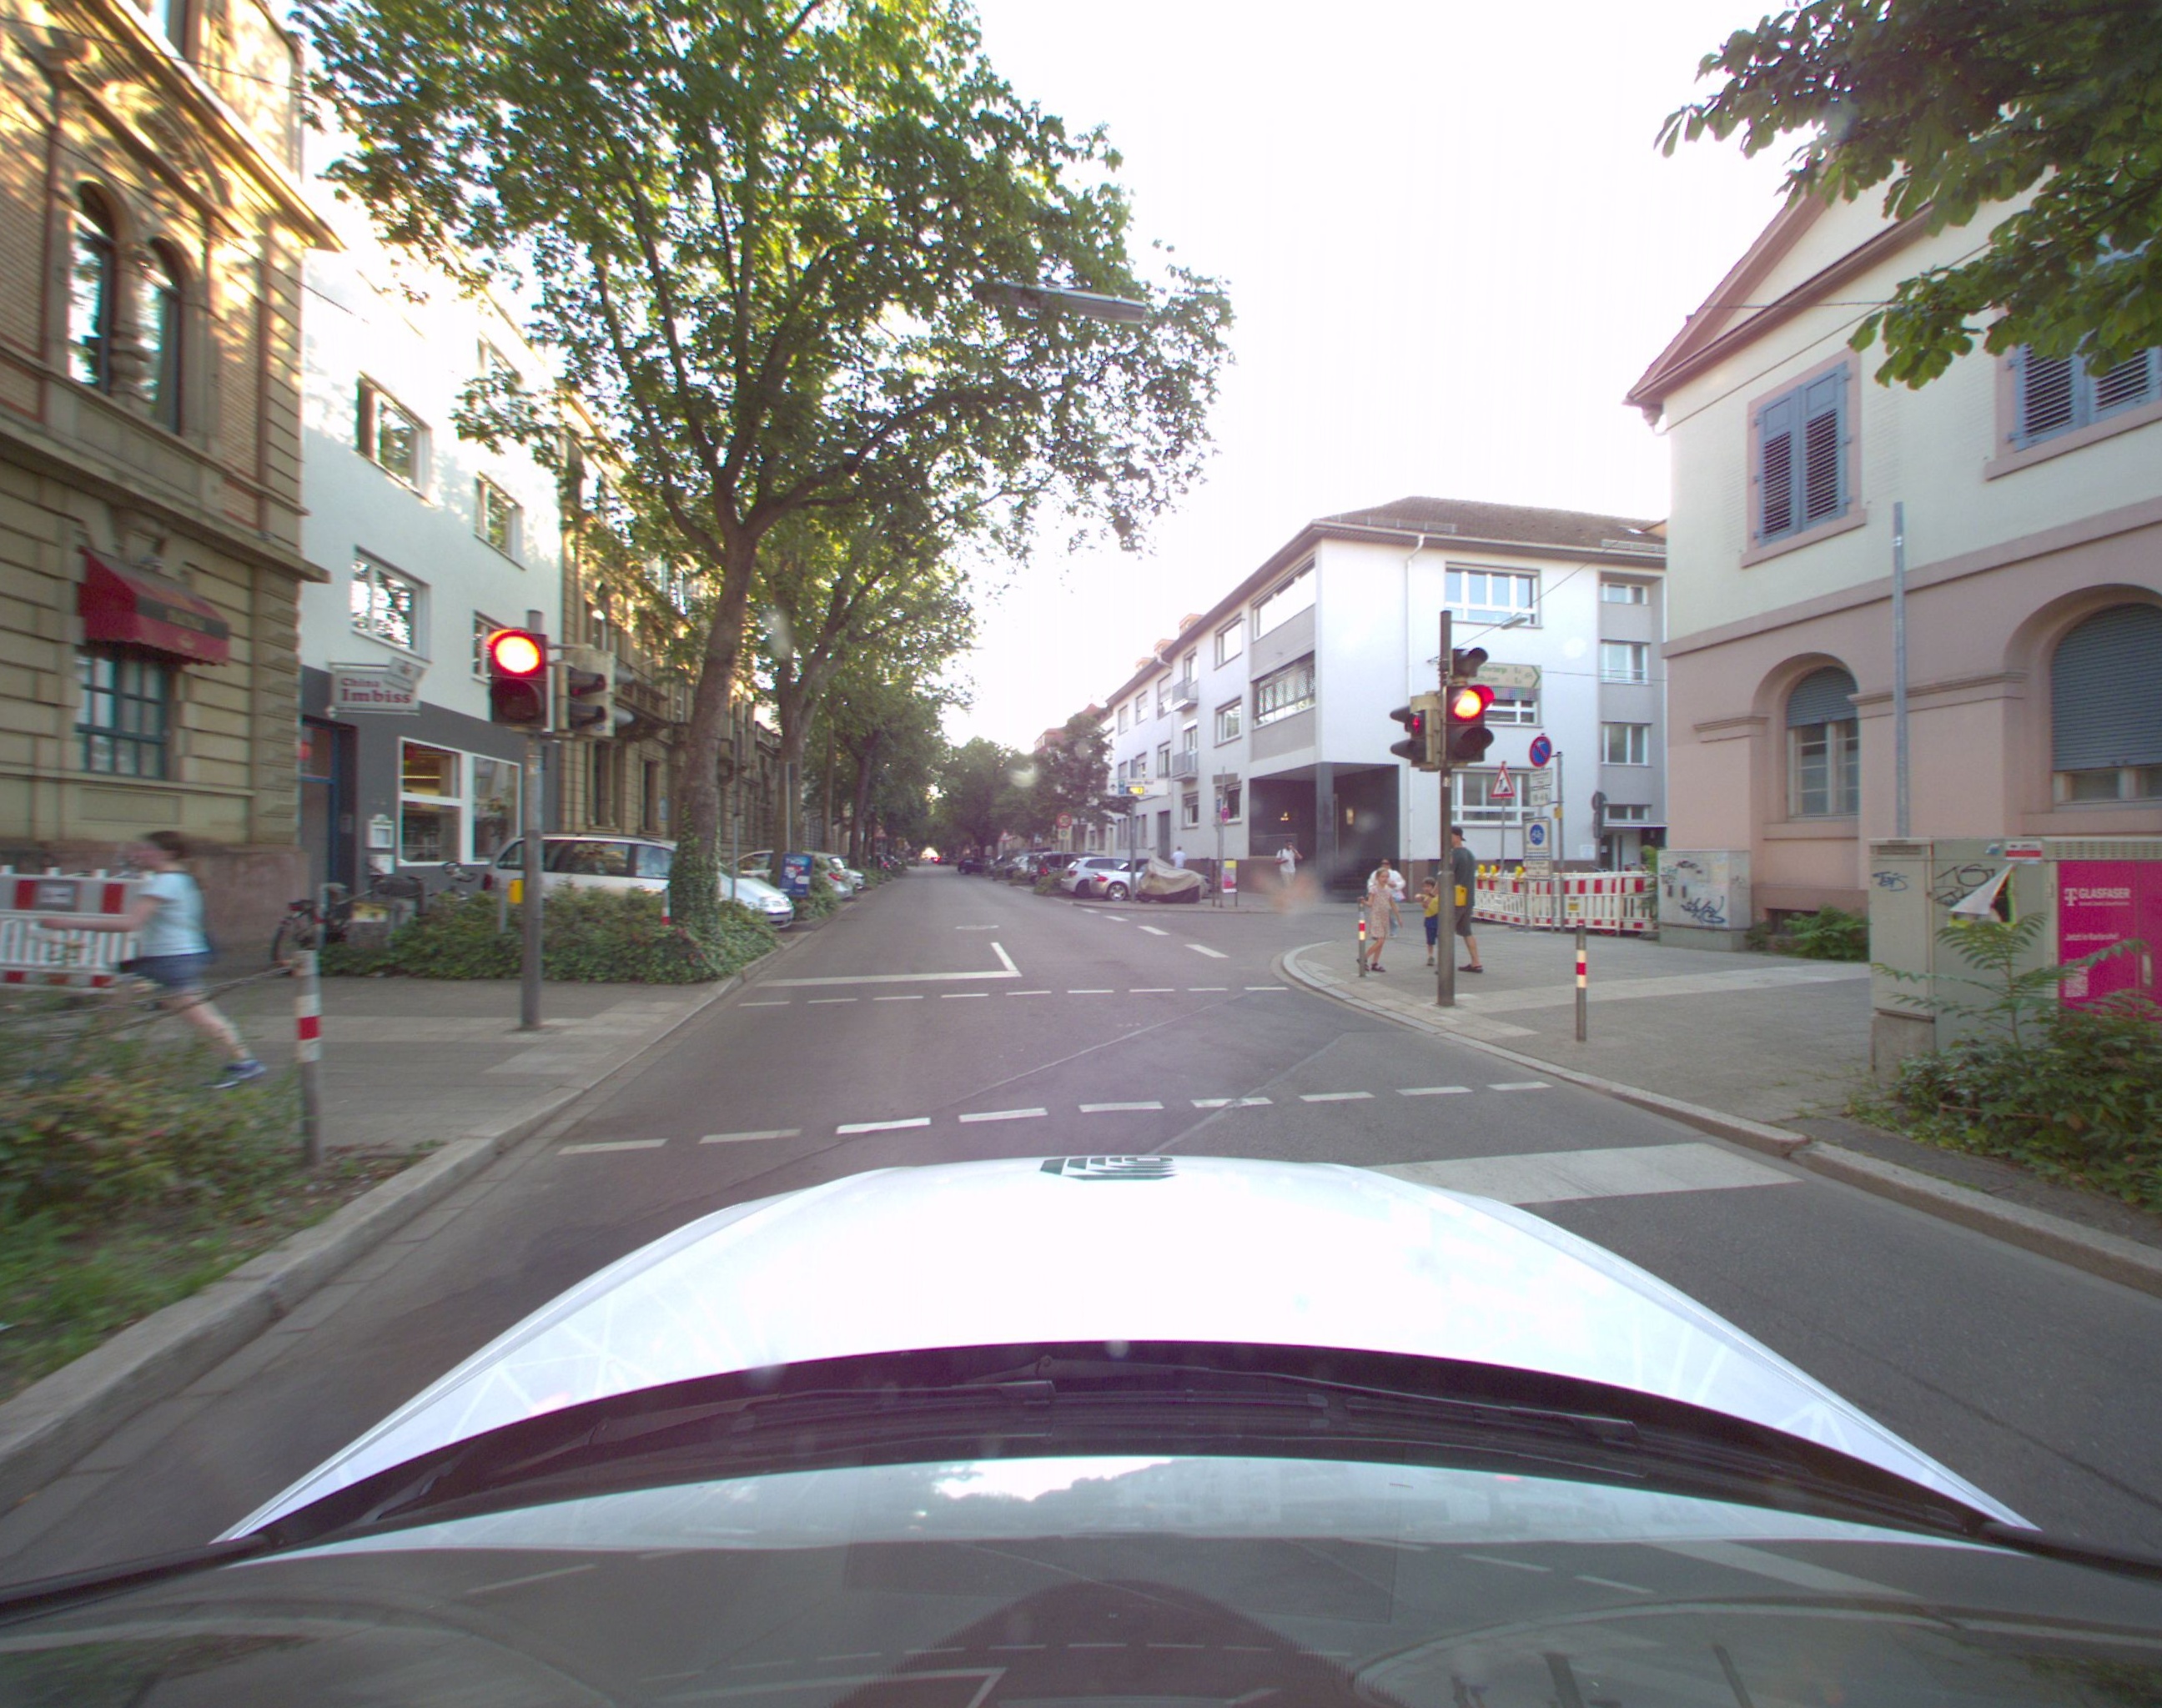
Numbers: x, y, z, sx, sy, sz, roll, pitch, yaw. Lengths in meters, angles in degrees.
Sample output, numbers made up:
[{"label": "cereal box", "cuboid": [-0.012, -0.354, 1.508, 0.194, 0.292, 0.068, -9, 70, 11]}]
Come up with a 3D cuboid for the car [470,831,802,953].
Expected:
[{"label": "car", "cuboid": [-7.192, 0.558, 13.689, 4.553, 1.835, 1.825, 0, 0, -14]}]

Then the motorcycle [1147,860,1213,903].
[{"label": "motorcycle", "cuboid": [2.821, 0.782, 23.345, 1.795, 1.199, 0.612, -1, 0, -2]}]

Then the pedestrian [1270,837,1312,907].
[{"label": "pedestrian", "cuboid": [5.689, 0.483, 22.120, 0.767, 1.841, 0.940, 1, 0, -10]}]

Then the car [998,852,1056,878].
[{"label": "car", "cuboid": [-3.907, 0.759, 58.512, 4.016, 1.830, 1.700, 0, 0, -11]}]

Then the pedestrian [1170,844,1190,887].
[{"label": "pedestrian", "cuboid": [4.146, 0.483, 34.154, 0.703, 1.752, 0.698, 1, 0, -7]}]

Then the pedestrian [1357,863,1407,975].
[{"label": "pedestrian", "cuboid": [3.729, 0.784, 10.116, 0.501, 1.336, 0.543, 0, 0, 12]}]

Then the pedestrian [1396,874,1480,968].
[{"label": "pedestrian", "cuboid": [4.623, 0.846, 10.583, 0.567, 1.121, 0.831, -1, 1, -21]}]

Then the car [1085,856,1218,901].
[{"label": "car", "cuboid": [2.250, 0.768, 26.502, 4.015, 1.342, 1.701, 0, 0, -10]}]

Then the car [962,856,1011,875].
[{"label": "car", "cuboid": [-8.184, 0.976, 70.791, 3.965, 1.578, 1.910, 1, -1, 0]}]

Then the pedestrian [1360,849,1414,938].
[{"label": "pedestrian", "cuboid": [5.381, 0.675, 14.317, 0.766, 1.501, 0.806, -1, -1, 27]}]

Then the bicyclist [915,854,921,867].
[{"label": "bicyclist", "cuboid": [-18.683, 0.737, 93.384, 0.572, 1.470, 0.639, 1, -1, -17]}]

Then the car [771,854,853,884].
[{"label": "car", "cuboid": [-14.738, 0.796, 44.824, 4.039, 1.590, 1.827, 0, 0, -10]}]

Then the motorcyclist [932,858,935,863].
[{"label": "motorcyclist", "cuboid": [-34.847, 1.571, 192.406, 0.818, 1.236, 0.847, 1, -1, -11]}]

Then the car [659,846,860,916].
[{"label": "car", "cuboid": [-8.191, 0.656, 21.160, 4.548, 1.689, 1.827, 0, 0, -10]}]

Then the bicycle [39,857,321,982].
[{"label": "bicycle", "cuboid": [-9.868, 0.632, 9.127, 0.636, 1.202, 2.556, 0, 0, -9]}]

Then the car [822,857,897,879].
[{"label": "car", "cuboid": [-14.410, 0.886, 53.247, 4.548, 1.410, 1.827, 0, 0, -10]}]

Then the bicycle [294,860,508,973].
[{"label": "bicycle", "cuboid": [-8.153, 0.676, 9.976, 0.734, 1.186, 2.625, 2, 0, -9]}]

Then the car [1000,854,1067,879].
[{"label": "car", "cuboid": [-3.003, 0.810, 51.295, 4.016, 1.530, 1.700, 0, 0, -11]}]

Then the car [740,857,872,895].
[{"label": "car", "cuboid": [-10.413, 0.806, 31.172, 4.548, 1.372, 1.827, 0, 0, -10]}]

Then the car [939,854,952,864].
[{"label": "car", "cuboid": [-21.762, 0.807, 130.527, 1.826, 1.561, 4.012, 1, -1, -11]}]

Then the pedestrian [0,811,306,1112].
[{"label": "pedestrian", "cuboid": [-5.353, 0.574, 4.747, 0.982, 1.557, 0.695, 3, -1, -27]}]

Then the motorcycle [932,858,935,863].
[{"label": "motorcycle", "cuboid": [-34.856, 1.576, 192.451, 0.818, 1.236, 2.018, 1, -1, -11]}]

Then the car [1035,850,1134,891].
[{"label": "car", "cuboid": [0.127, 0.704, 35.222, 4.016, 1.690, 1.700, 0, 0, -11]}]

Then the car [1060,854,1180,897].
[{"label": "car", "cuboid": [1.357, 0.745, 28.961, 4.016, 1.442, 1.700, 0, 0, -11]}]

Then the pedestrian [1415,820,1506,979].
[{"label": "pedestrian", "cuboid": [4.624, 0.506, 9.899, 0.879, 1.815, 0.799, 0, 2, 34]}]

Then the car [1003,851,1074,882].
[{"label": "car", "cuboid": [-2.548, 0.727, 48.484, 4.016, 1.815, 1.700, 0, 0, -11]}]

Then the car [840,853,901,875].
[{"label": "car", "cuboid": [-16.776, 0.814, 65.166, 4.548, 1.691, 1.827, 0, 0, -10]}]

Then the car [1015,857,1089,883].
[{"label": "car", "cuboid": [-1.687, 0.890, 46.311, 4.016, 1.409, 1.700, 0, 0, -11]}]

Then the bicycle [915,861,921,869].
[{"label": "bicycle", "cuboid": [-18.690, 1.287, 93.377, 0.572, 0.949, 1.734, 1, -1, -16]}]
